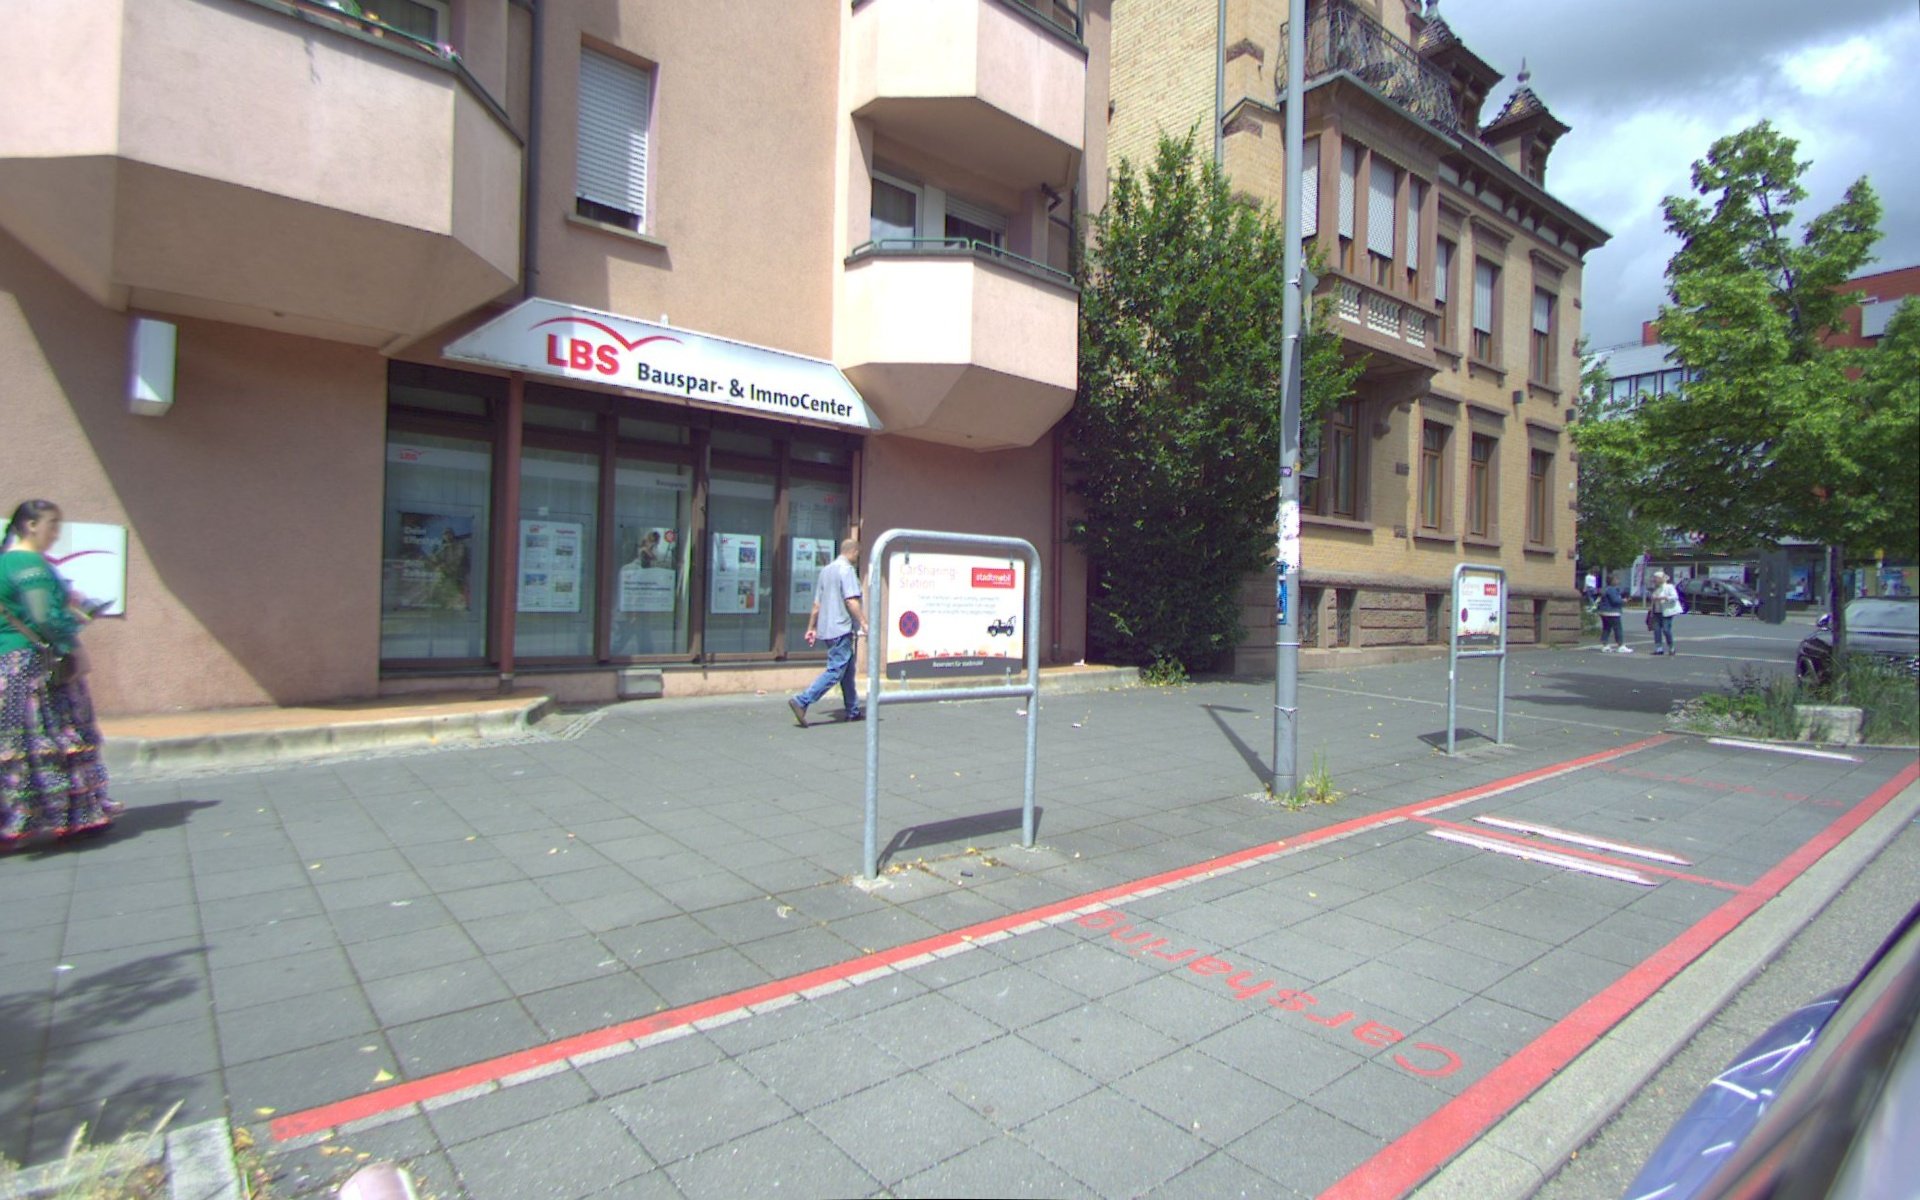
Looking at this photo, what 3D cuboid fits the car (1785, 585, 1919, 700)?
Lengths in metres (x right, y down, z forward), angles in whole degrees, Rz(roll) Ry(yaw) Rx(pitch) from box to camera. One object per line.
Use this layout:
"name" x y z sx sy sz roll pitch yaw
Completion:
"car" 13.766 0.522 14.602 4.651 1.431 1.998 0 2 -40

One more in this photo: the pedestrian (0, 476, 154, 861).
"pedestrian" -4.326 0.280 4.662 0.911 1.659 0.746 1 2 -41

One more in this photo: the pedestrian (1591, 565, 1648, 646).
"pedestrian" 13.781 0.106 21.155 0.661 1.660 0.742 -1 0 -14

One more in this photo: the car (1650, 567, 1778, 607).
"car" 32.566 -0.537 43.791 1.961 1.672 4.001 0 0 -33

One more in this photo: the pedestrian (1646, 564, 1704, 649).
"pedestrian" 14.602 0.122 20.678 0.725 1.679 0.699 -1 0 -28

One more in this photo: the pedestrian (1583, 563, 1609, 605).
"pedestrian" 27.281 -0.677 43.421 0.756 1.753 0.749 -1 0 18

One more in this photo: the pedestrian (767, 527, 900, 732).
"pedestrian" -1.126 0.223 9.015 0.929 1.706 0.717 -1 3 -43
